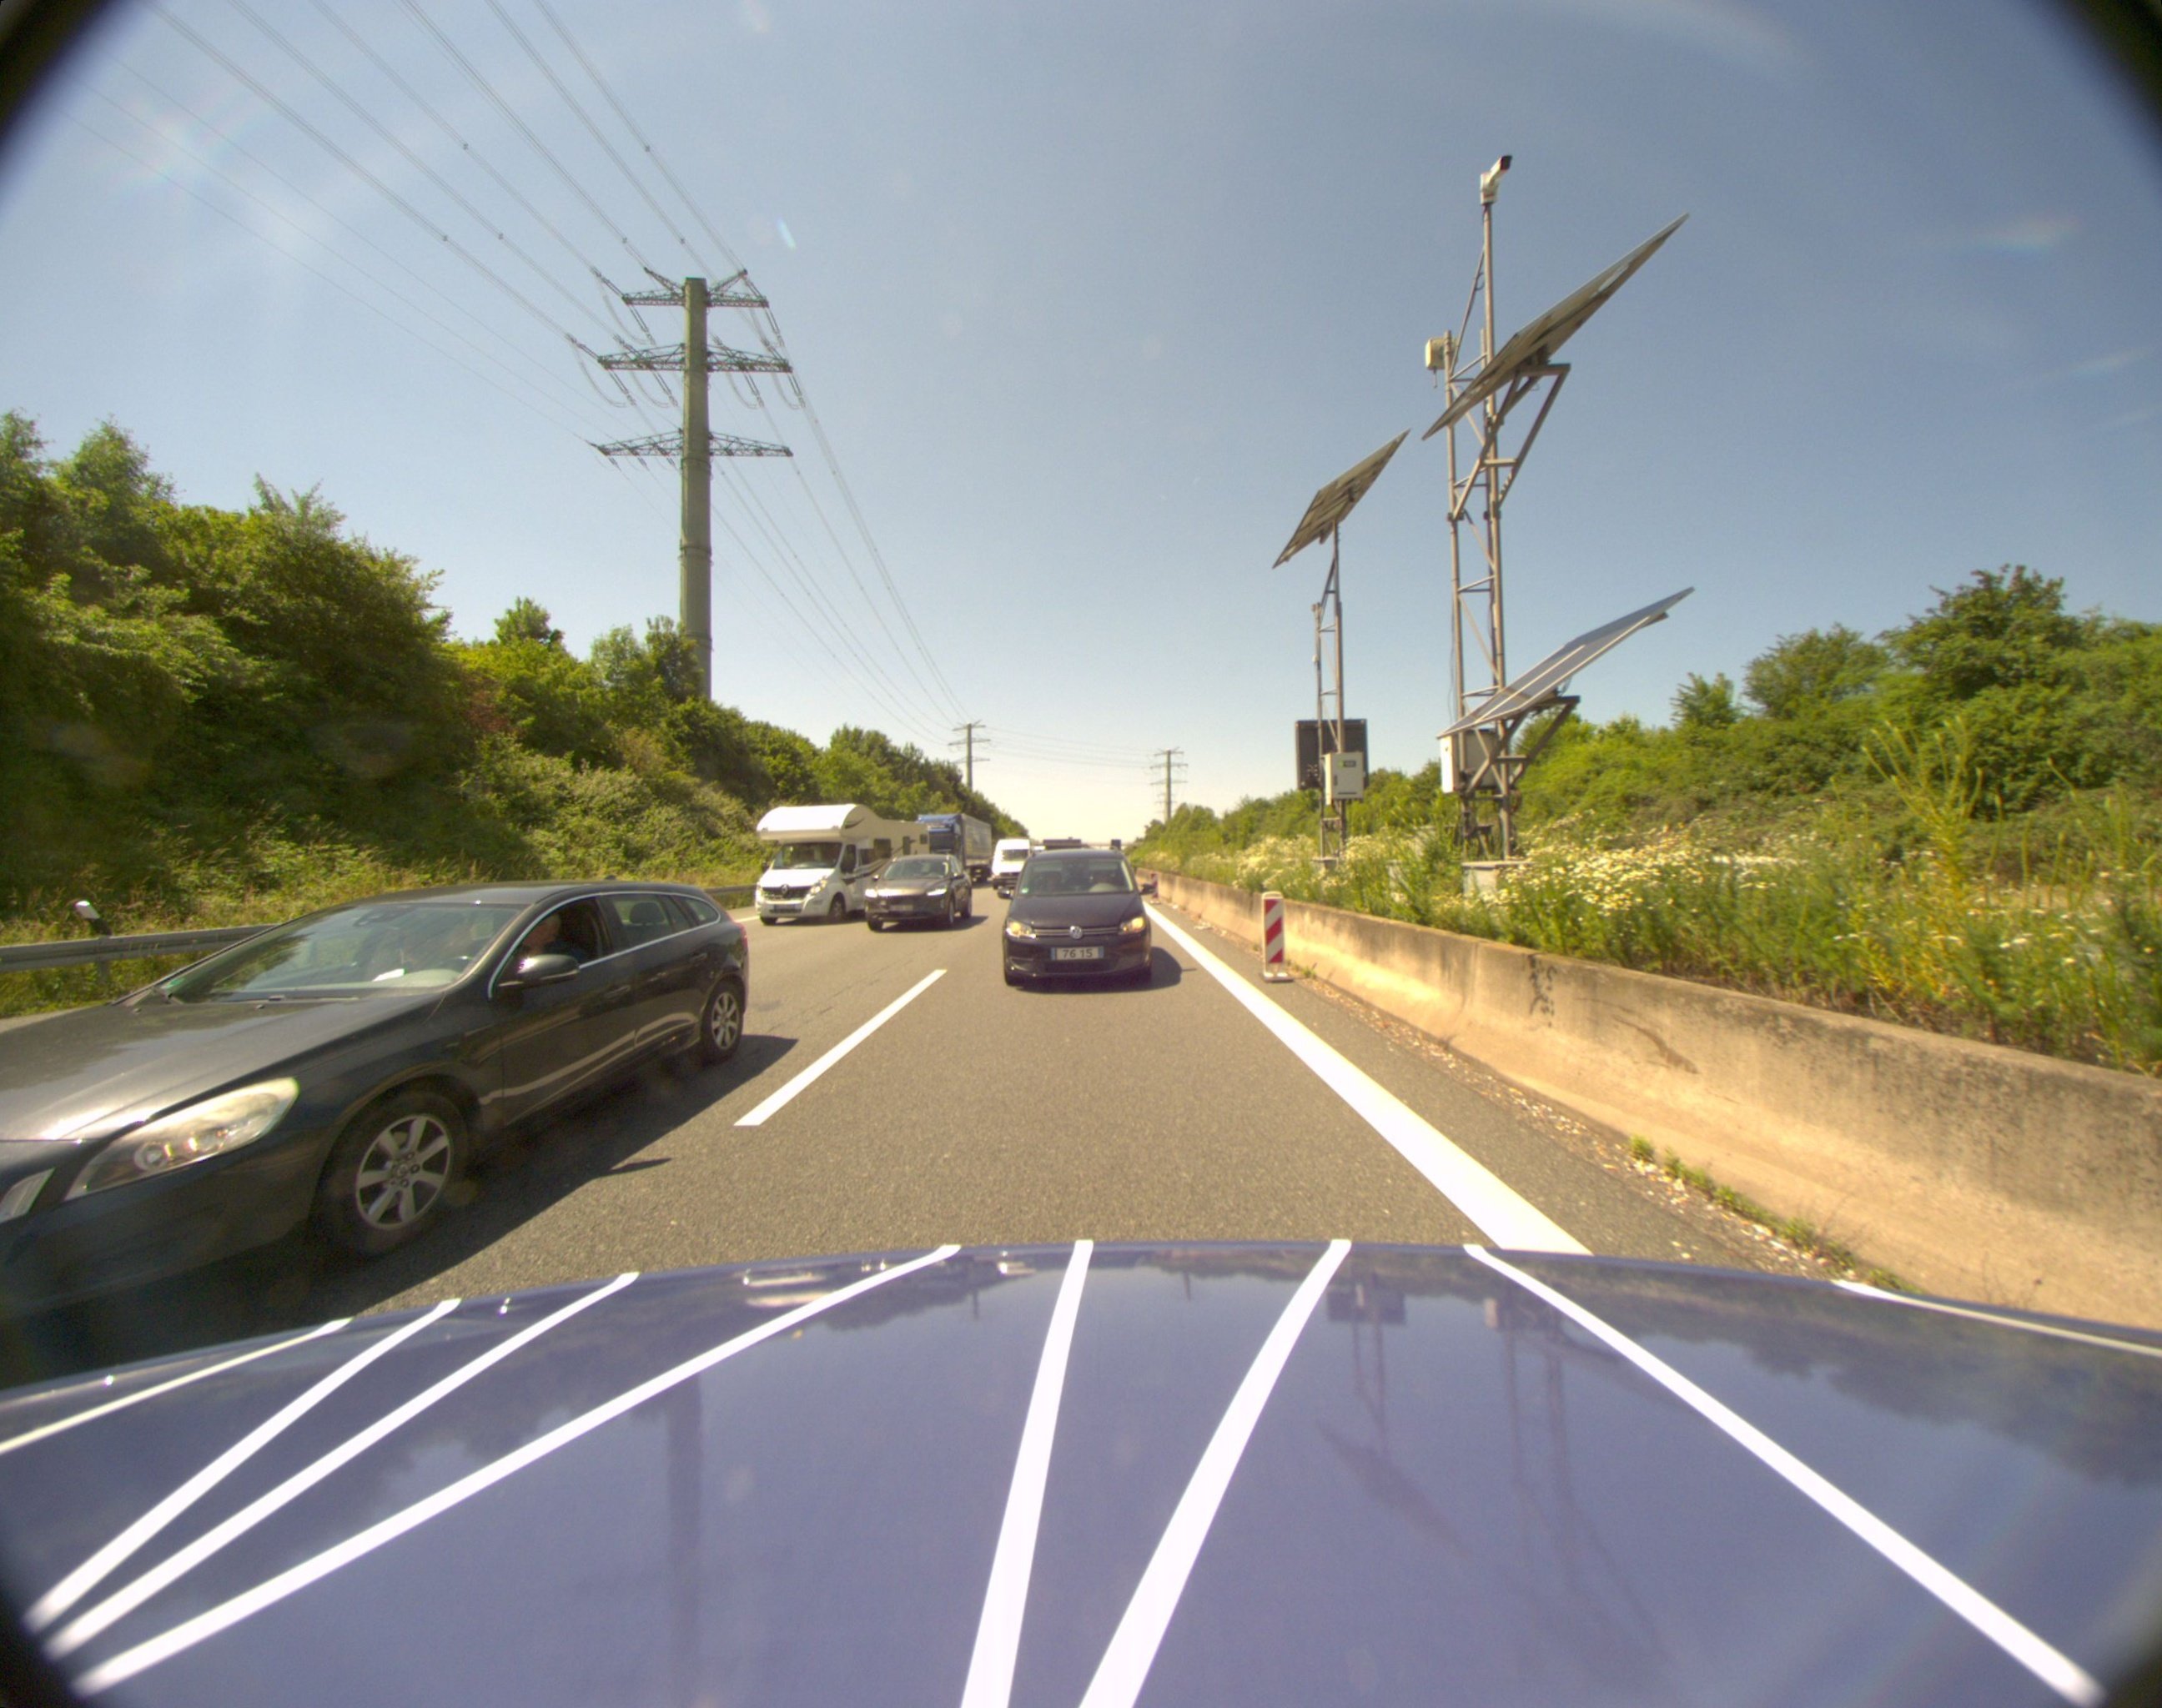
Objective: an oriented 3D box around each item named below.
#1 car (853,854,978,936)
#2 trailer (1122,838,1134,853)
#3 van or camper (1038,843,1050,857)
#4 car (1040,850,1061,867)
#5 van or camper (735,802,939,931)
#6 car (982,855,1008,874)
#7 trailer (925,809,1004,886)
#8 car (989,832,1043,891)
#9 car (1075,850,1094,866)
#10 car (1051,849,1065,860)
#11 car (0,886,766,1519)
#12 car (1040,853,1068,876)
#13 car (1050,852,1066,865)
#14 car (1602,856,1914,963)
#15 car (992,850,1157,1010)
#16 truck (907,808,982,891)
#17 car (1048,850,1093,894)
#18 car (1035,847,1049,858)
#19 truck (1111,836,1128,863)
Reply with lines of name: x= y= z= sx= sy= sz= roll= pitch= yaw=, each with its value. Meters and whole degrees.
car: x=-3.722 y=0.855 z=17.912 sx=1.893 sy=1.602 sz=4.219 roll=-2 pitch=1 yaw=1
trailer: x=14.906 y=-2.652 z=242.954 sx=2.967 sy=4.378 sz=12.904 roll=-2 pitch=1 yaw=1
van or camper: x=-6.948 y=-0.743 z=142.852 sx=1.978 sy=2.511 sz=4.369 roll=-2 pitch=1 yaw=1
car: x=-2.863 y=0.449 z=72.830 sx=1.720 sy=1.510 sz=3.874 roll=-2 pitch=1 yaw=1
van or camper: x=-6.596 y=0.265 z=22.036 sx=2.373 sy=3.026 sz=7.636 roll=-2 pitch=1 yaw=8
car: x=-7.594 y=0.895 z=67.495 sx=1.720 sy=1.510 sz=3.874 roll=-2 pitch=1 yaw=1
trailer: x=-7.226 y=-0.418 z=49.369 sx=2.774 sy=4.239 sz=12.877 roll=-2 pitch=1 yaw=1
car: x=-3.265 y=0.328 z=39.611 sx=2.042 sy=2.703 sz=6.705 roll=-2 pitch=1 yaw=1
car: x=0.429 y=0.457 z=85.564 sx=1.973 sy=1.682 sz=3.874 roll=-2 pitch=1 yaw=1
car: x=-3.343 y=0.112 z=110.381 sx=1.720 sy=1.510 sz=3.874 roll=-2 pitch=1 yaw=1
car: x=-3.653 y=1.038 z=4.228 sx=1.799 sy=1.411 sz=4.509 roll=-2 pitch=1 yaw=1
car: x=-1.908 y=0.729 z=54.485 sx=1.720 sy=1.510 sz=3.874 roll=-2 pitch=1 yaw=1
car: x=-2.782 y=0.524 z=93.217 sx=1.720 sy=1.510 sz=3.874 roll=-2 pitch=1 yaw=1
car: x=12.029 y=0.875 z=13.991 sx=1.998 sy=1.652 sz=4.229 roll=0 pitch=0 yaw=1
car: x=-0.039 y=0.804 z=10.267 sx=1.700 sy=1.641 sz=4.219 roll=-2 pitch=1 yaw=1
truck: x=-7.332 y=-0.252 z=41.563 sx=2.792 sy=4.121 sz=5.636 roll=-2 pitch=1 yaw=1
car: x=-0.386 y=0.690 z=31.687 sx=1.700 sy=1.641 sz=4.219 roll=-2 pitch=1 yaw=1
car: x=-5.637 y=-0.216 z=110.017 sx=1.720 sy=1.510 sz=3.874 roll=-2 pitch=1 yaw=1
truck: x=4.799 y=-0.586 z=95.819 sx=1.892 sy=3.264 sz=5.590 roll=-2 pitch=1 yaw=1
